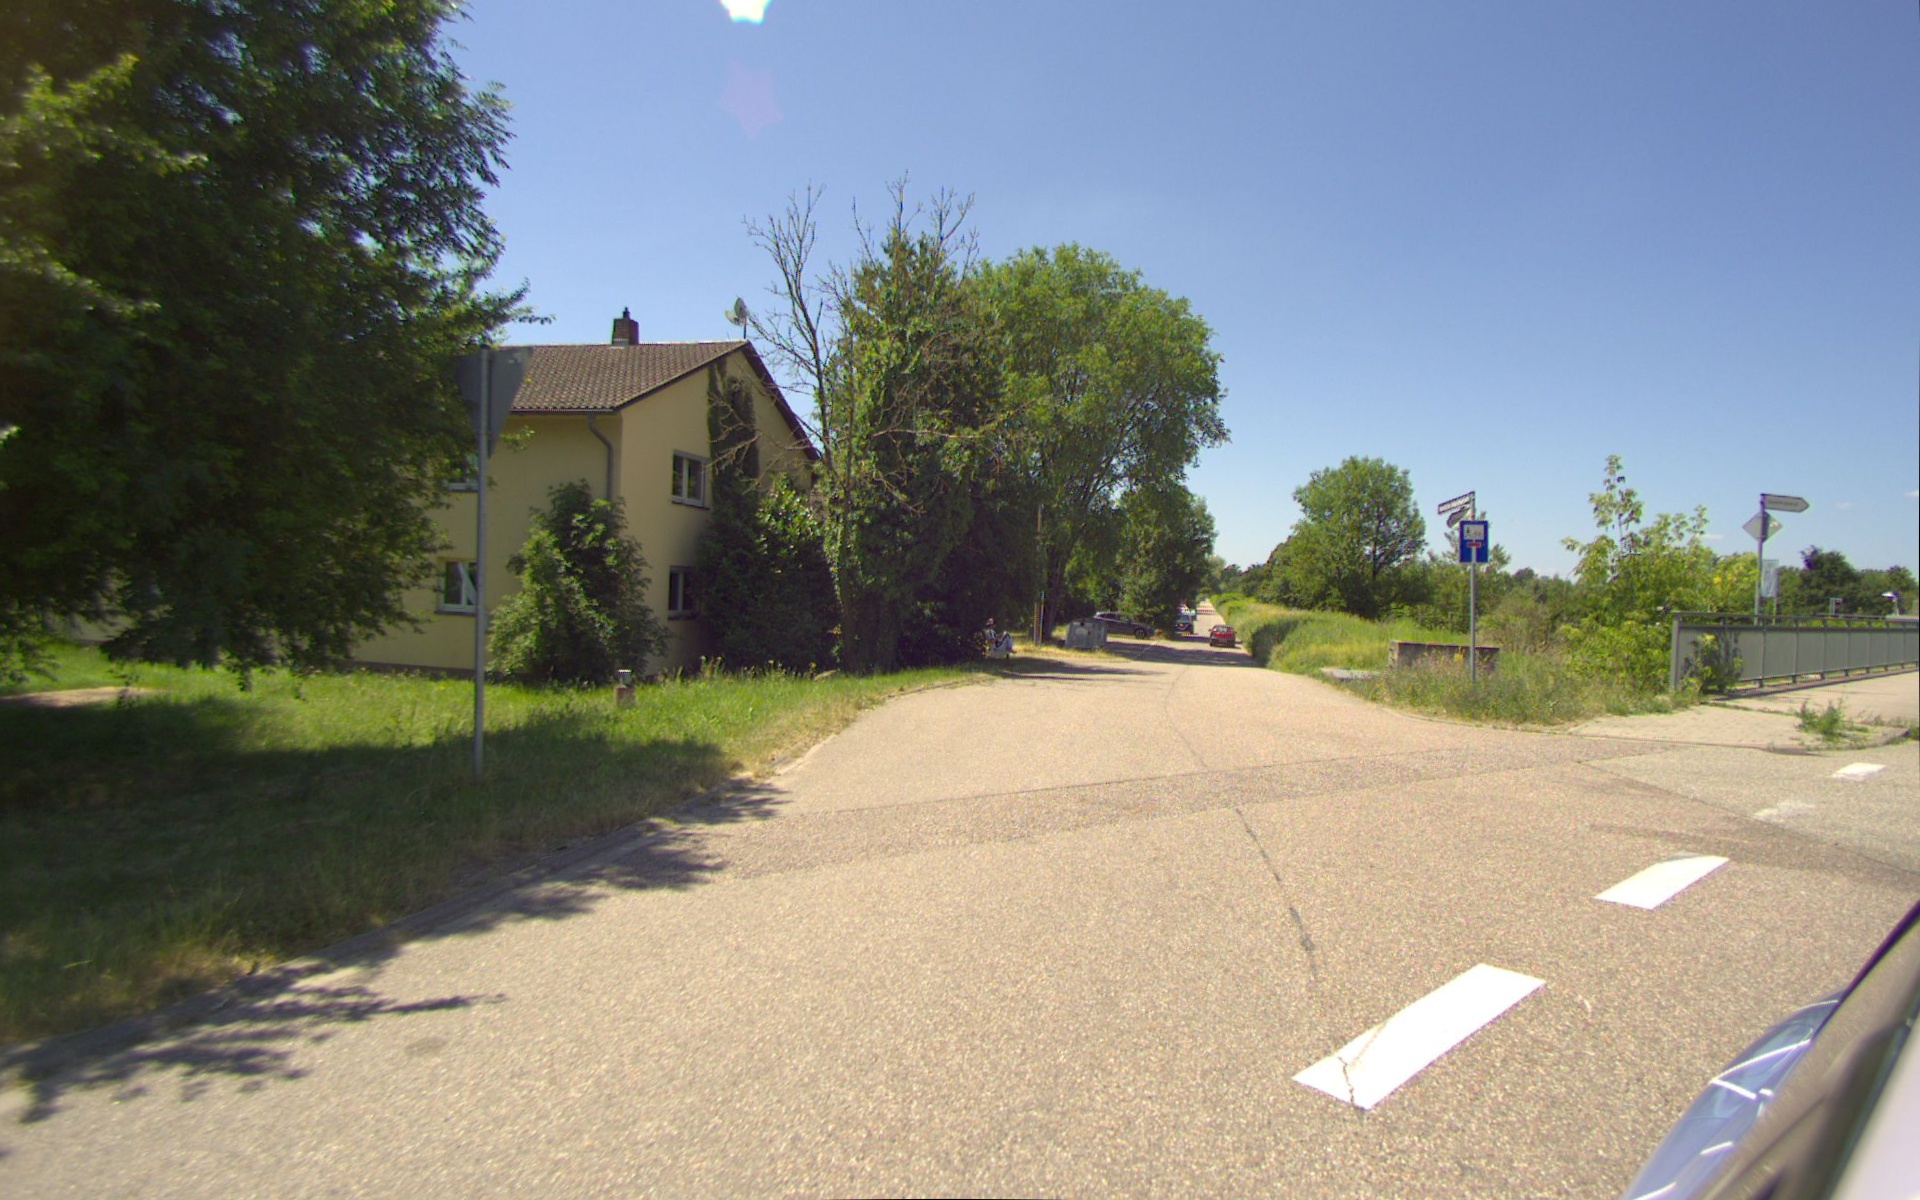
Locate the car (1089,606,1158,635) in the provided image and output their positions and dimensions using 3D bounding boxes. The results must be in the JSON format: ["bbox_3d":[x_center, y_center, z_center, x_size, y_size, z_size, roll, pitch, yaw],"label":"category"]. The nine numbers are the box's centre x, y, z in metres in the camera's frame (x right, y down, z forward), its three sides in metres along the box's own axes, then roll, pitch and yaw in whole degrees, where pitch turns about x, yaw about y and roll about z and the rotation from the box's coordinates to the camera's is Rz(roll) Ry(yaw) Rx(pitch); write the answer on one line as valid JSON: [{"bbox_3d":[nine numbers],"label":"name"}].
[{"bbox_3d":[11.126,1.357,68.615,4.446,1.644,1.992,3,1,13],"label":"car"}]

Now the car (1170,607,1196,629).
[{"bbox_3d":[18.829,1.472,85.454,1.970,1.644,4.495,3,1,13],"label":"car"}]

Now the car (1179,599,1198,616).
[{"bbox_3d":[29.665,0.981,131.472,2.247,2.059,4.774,3,1,13],"label":"car"}]

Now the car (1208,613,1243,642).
[{"bbox_3d":[17.410,1.755,66.457,1.970,1.644,4.495,3,1,13],"label":"car"}]

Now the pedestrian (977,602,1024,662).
[{"bbox_3d":[1.038,0.822,25.862,0.833,1.410,0.684,5,1,-27],"label":"pedestrian"}]
